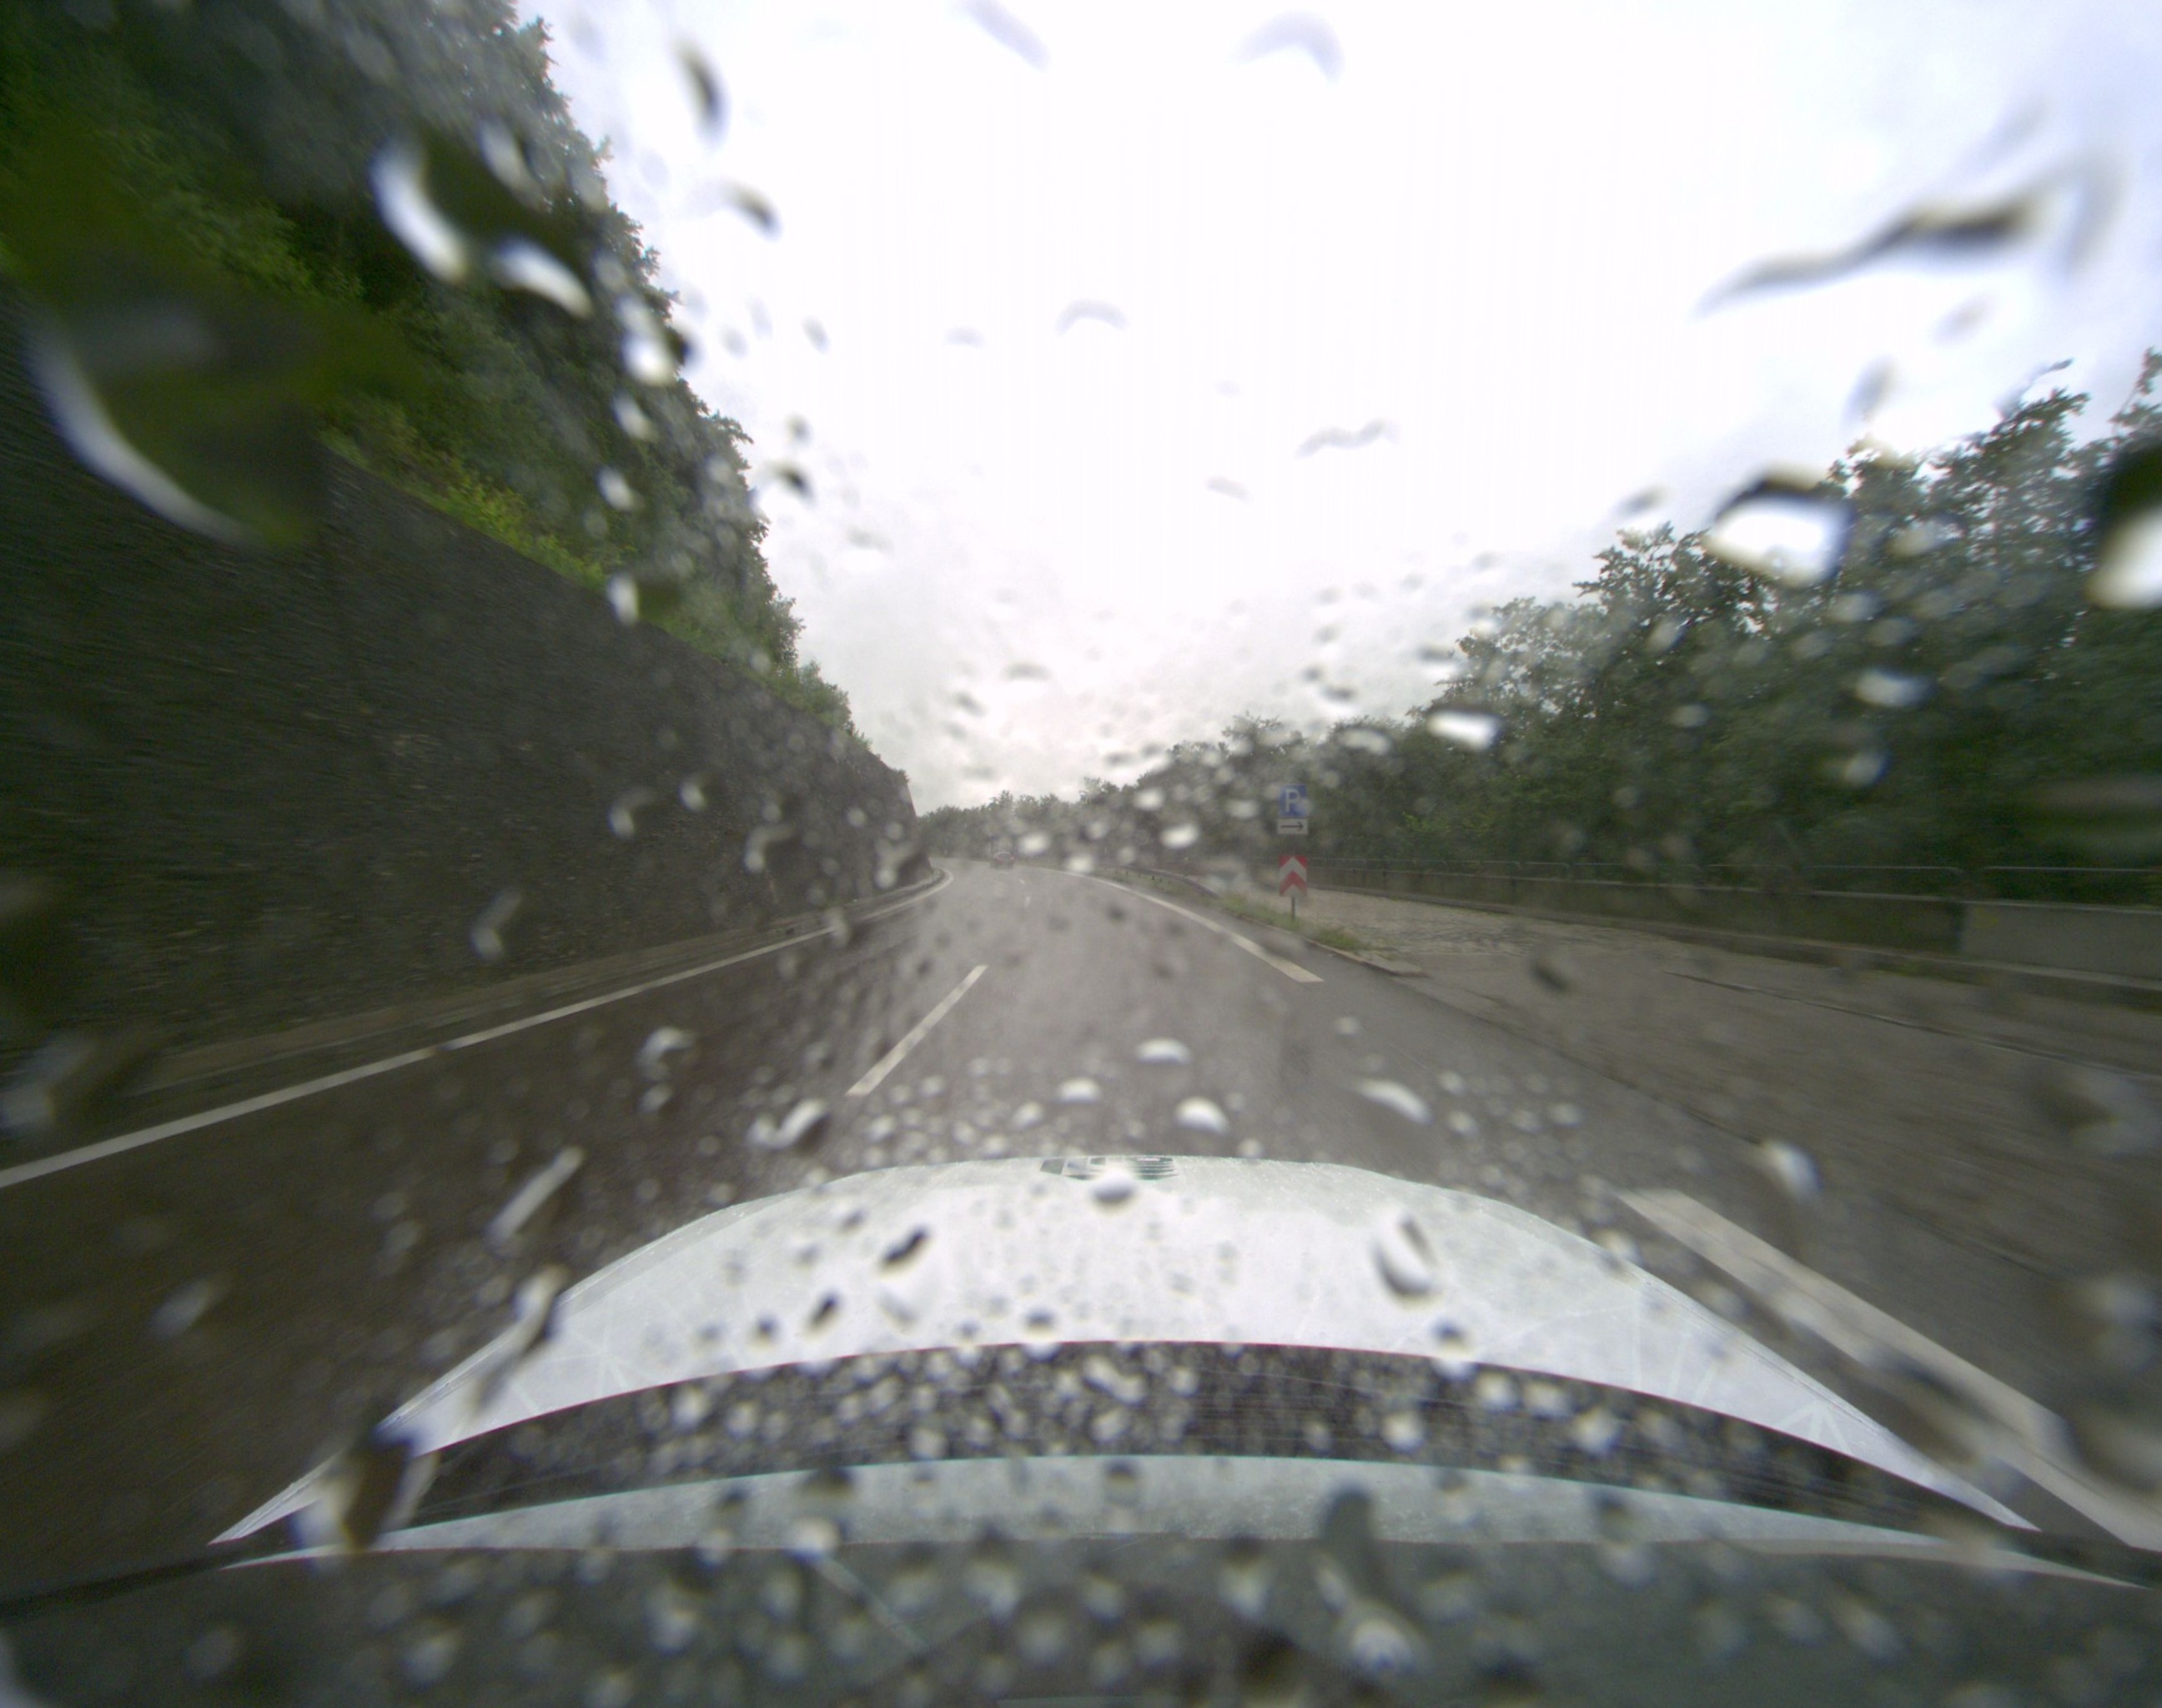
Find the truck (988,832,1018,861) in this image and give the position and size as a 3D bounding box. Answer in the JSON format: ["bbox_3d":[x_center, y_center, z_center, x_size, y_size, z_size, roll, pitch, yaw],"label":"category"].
[{"bbox_3d":[-11.706,-1.085,121.158,2.906,4.245,6.835,0,0,-20],"label":"truck"}]

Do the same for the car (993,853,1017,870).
[{"bbox_3d":[-7.134,0.666,76.207,1.904,1.499,3.985,2,0,-11],"label":"car"}]

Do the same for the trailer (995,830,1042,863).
[{"bbox_3d":[-8.845,-0.992,112.938,2.901,4.245,14.602,0,0,-19],"label":"trailer"}]
